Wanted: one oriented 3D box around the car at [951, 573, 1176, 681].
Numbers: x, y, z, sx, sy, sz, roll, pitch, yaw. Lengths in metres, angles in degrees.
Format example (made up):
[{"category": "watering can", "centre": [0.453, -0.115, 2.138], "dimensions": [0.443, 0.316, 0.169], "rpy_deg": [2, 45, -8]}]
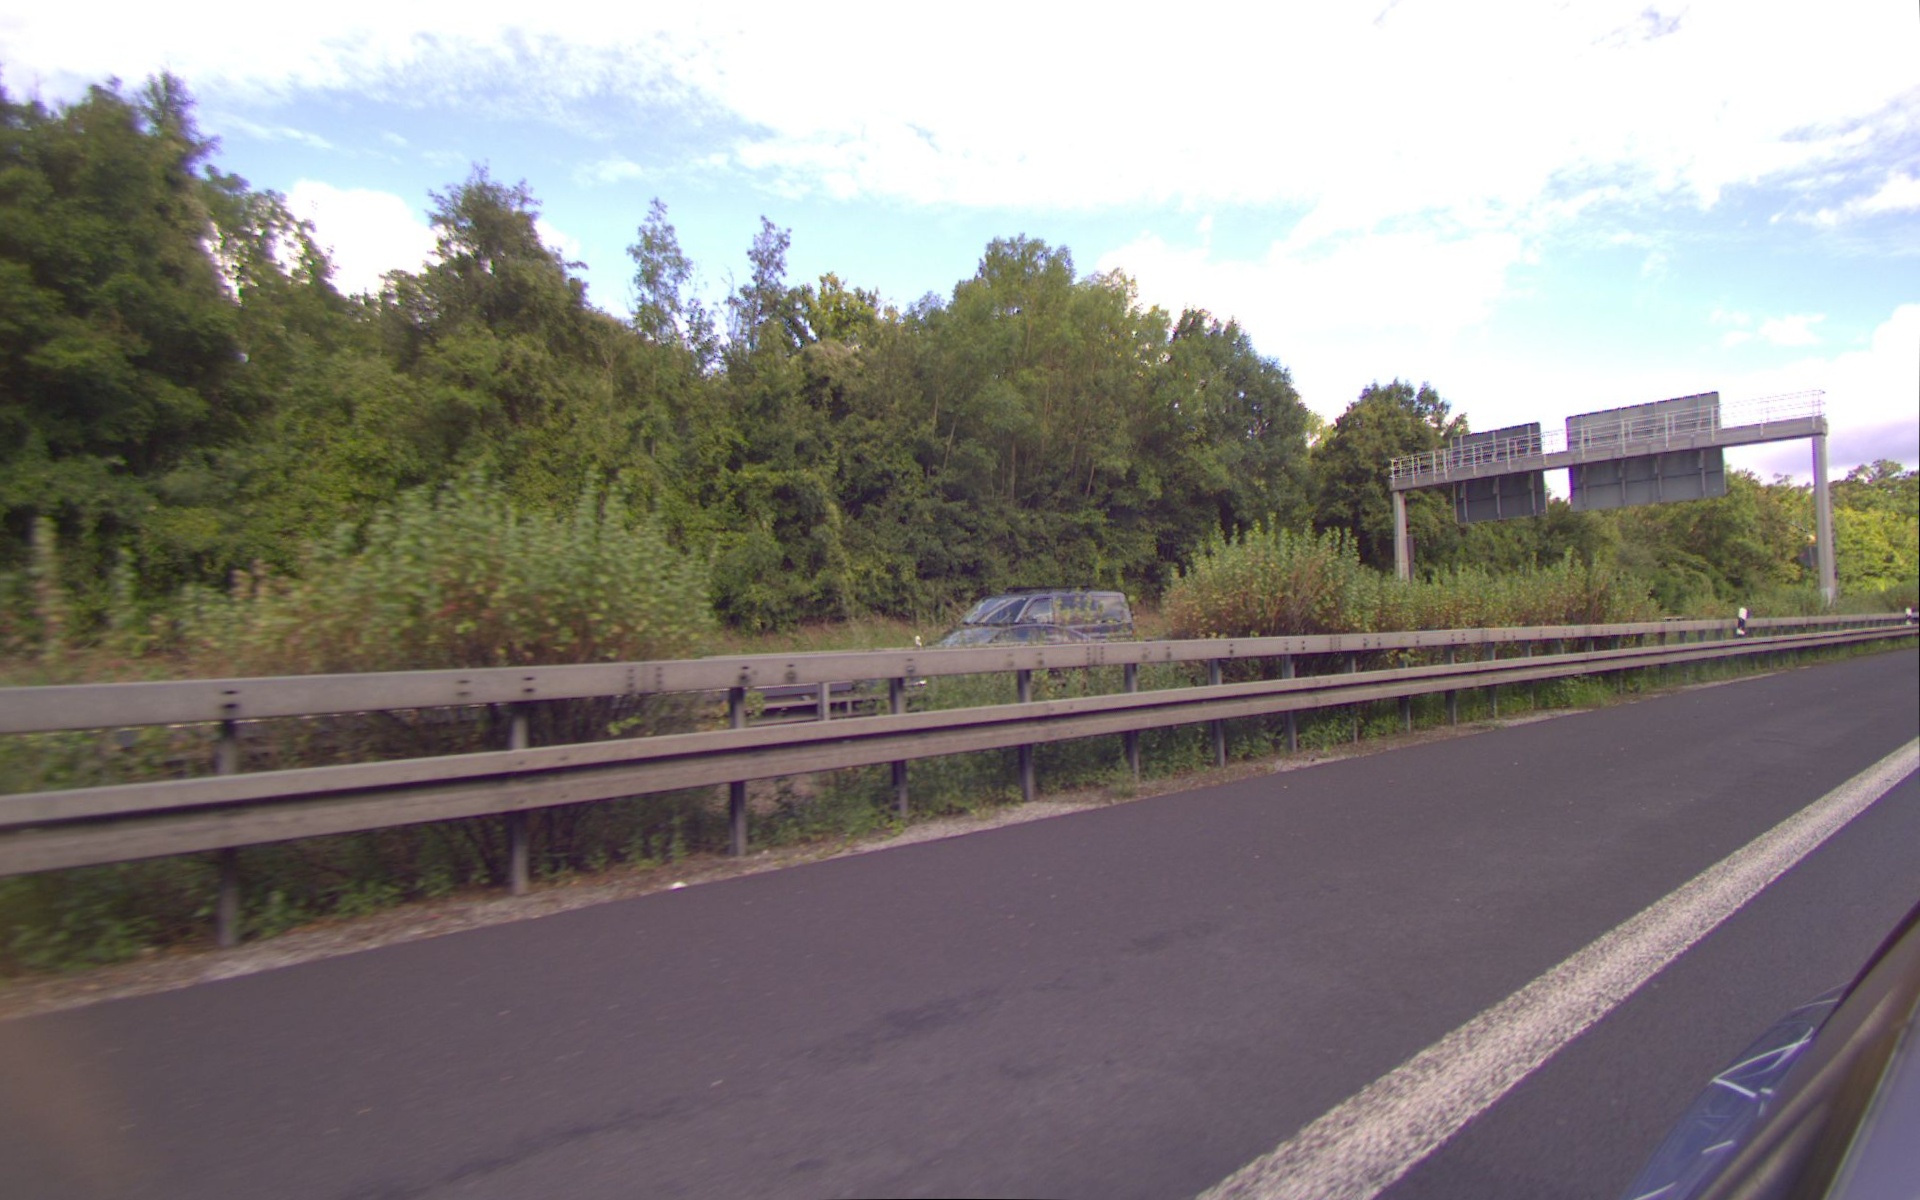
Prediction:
[{"category": "car", "centre": [2.296, 0.508, 21.615], "dimensions": [4.823, 2.039, 1.997], "rpy_deg": [0, 0, -40]}]
